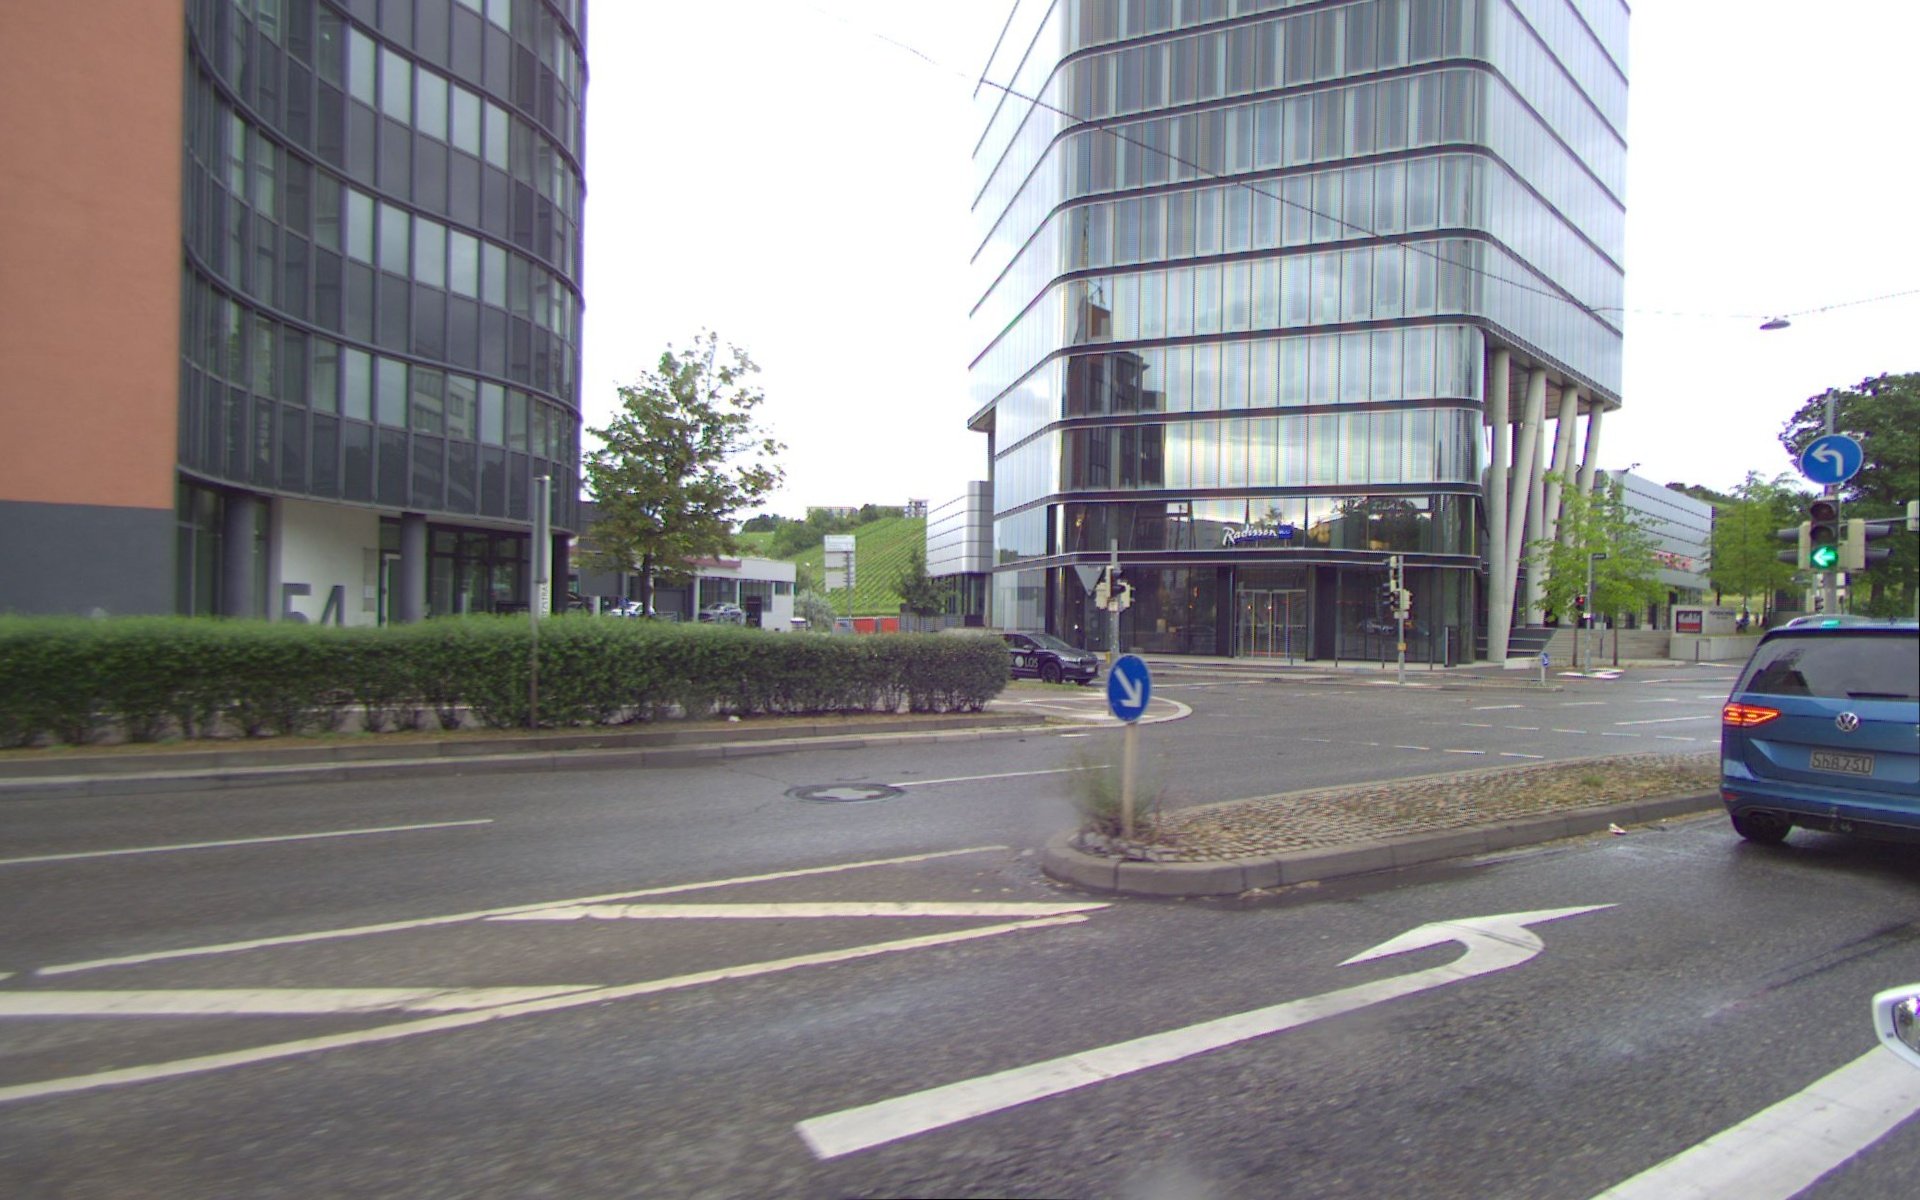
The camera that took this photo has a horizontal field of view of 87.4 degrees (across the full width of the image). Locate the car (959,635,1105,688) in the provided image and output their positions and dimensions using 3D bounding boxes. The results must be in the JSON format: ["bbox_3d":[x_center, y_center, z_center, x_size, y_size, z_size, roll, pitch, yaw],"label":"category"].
[{"bbox_3d":[2.207,1.877,31.369,4.307,1.530,1.848,-2,-2,40],"label":"car"}]

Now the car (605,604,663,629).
[{"bbox_3d":[-22.696,1.151,70.107,1.782,1.672,3.815,0,-2,23],"label":"car"}]

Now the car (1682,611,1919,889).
[{"bbox_3d":[7.224,0.934,7.218,4.147,1.617,1.764,2,-2,-30],"label":"car"}]
